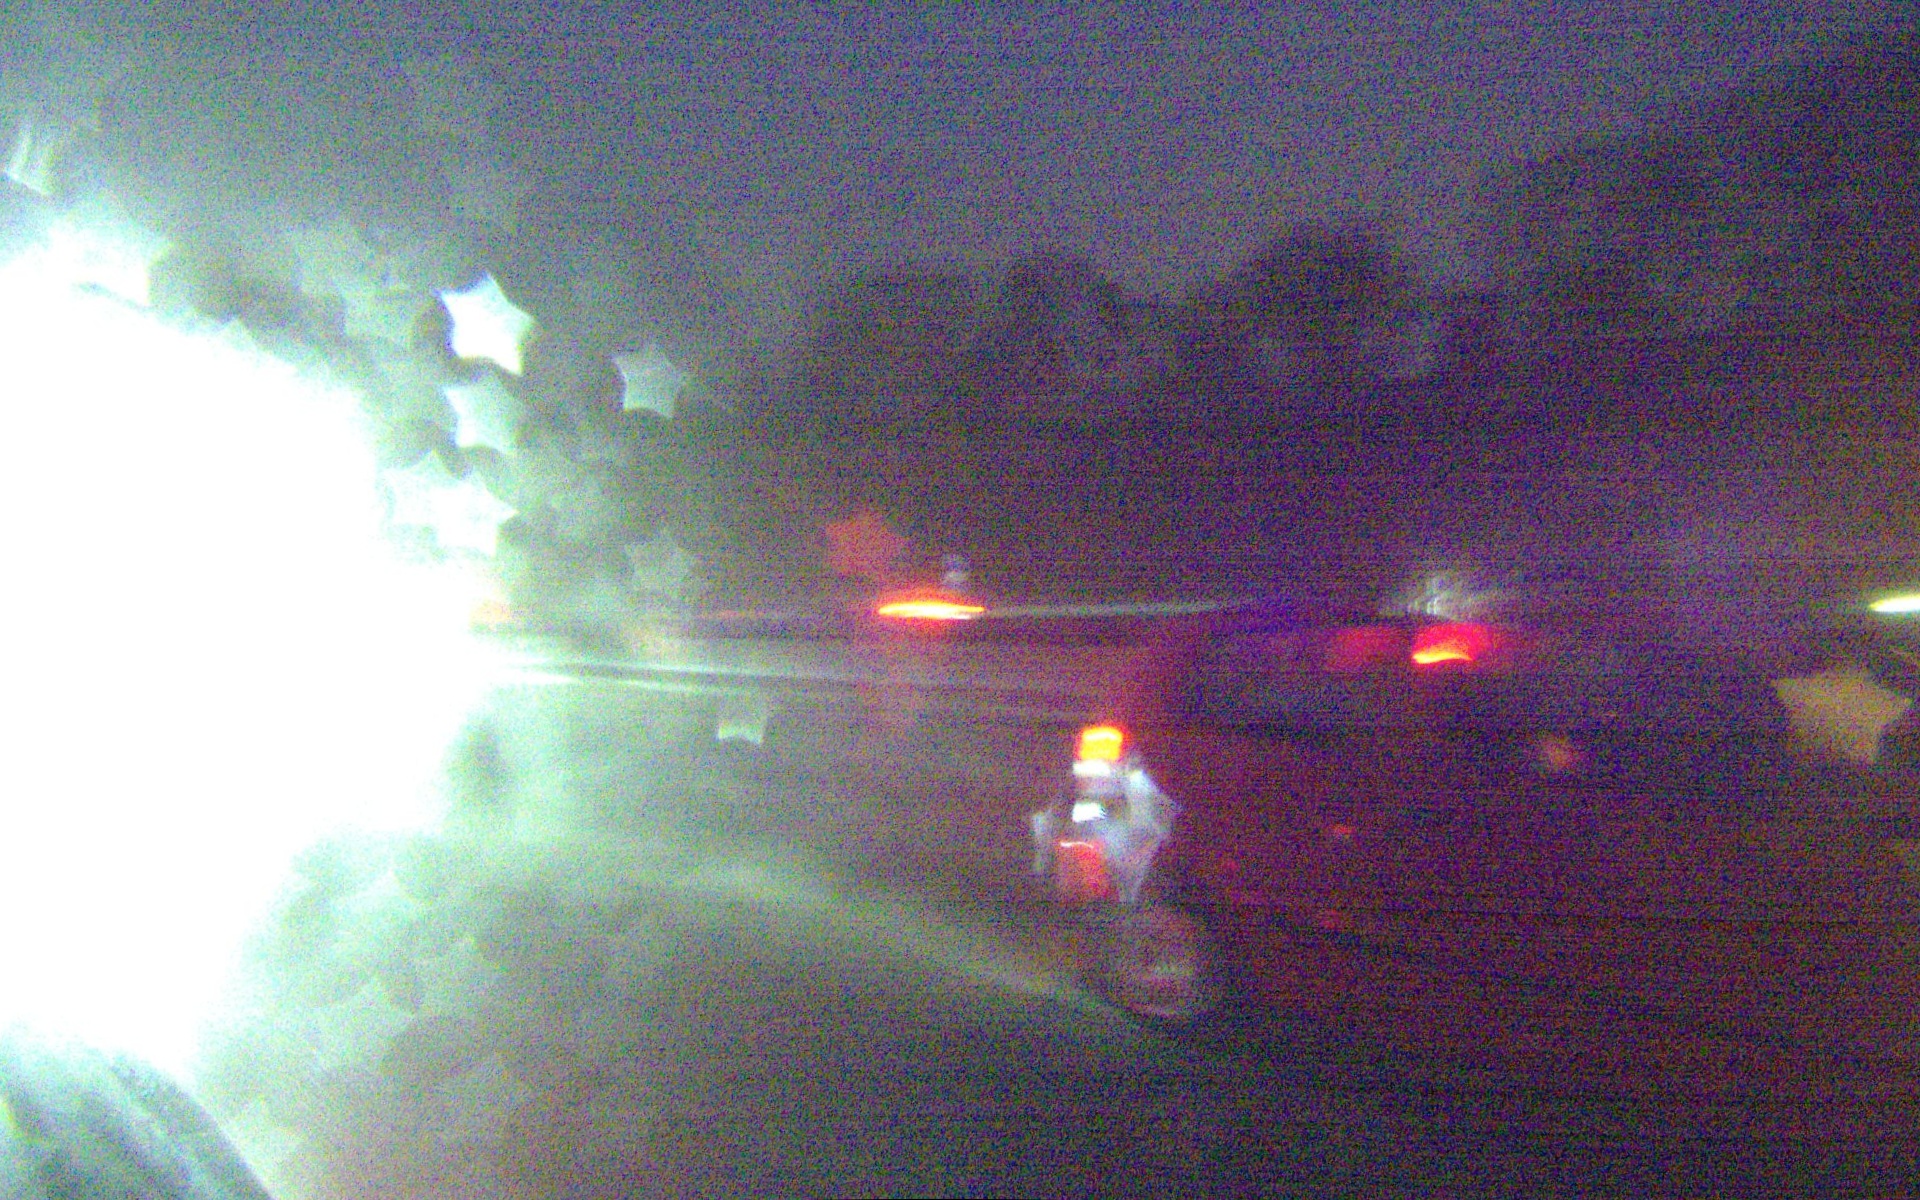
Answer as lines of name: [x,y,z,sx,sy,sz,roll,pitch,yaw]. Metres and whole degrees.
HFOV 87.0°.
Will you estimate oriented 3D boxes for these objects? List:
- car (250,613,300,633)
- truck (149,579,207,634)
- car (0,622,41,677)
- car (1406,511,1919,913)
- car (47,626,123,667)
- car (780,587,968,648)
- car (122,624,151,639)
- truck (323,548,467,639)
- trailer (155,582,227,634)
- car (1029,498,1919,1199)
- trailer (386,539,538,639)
car: [-45.944,1.551,67.849,4.270,1.230,1.689,-1,2,41]
truck: [-90.351,0.725,116.898,7.345,6.174,4.122,-1,0,43]
car: [-31.597,1.594,33.221,1.970,1.689,4.003,-2,0,-44]
car: [5.110,0.475,5.071,4.885,1.790,1.973,-1,0,42]
car: [-38.878,2.019,44.928,2.278,1.621,3.873,-2,0,-45]
car: [-2.464,0.477,27.966,5.367,1.475,1.952,-1,2,41]
car: [-88.633,3.370,108.858,5.017,1.491,1.688,-1,2,43]
truck: [-36.176,-0.351,64.547,10.464,5.178,4.297,-2,3,40]
trailer: [-85.415,0.896,112.271,13.747,5.486,4.122,-1,0,43]
car: [2.459,0.589,2.895,4.231,1.606,1.896,-1,0,41]
trailer: [-28.708,-0.567,58.188,8.991,5.178,4.297,-2,4,41]
